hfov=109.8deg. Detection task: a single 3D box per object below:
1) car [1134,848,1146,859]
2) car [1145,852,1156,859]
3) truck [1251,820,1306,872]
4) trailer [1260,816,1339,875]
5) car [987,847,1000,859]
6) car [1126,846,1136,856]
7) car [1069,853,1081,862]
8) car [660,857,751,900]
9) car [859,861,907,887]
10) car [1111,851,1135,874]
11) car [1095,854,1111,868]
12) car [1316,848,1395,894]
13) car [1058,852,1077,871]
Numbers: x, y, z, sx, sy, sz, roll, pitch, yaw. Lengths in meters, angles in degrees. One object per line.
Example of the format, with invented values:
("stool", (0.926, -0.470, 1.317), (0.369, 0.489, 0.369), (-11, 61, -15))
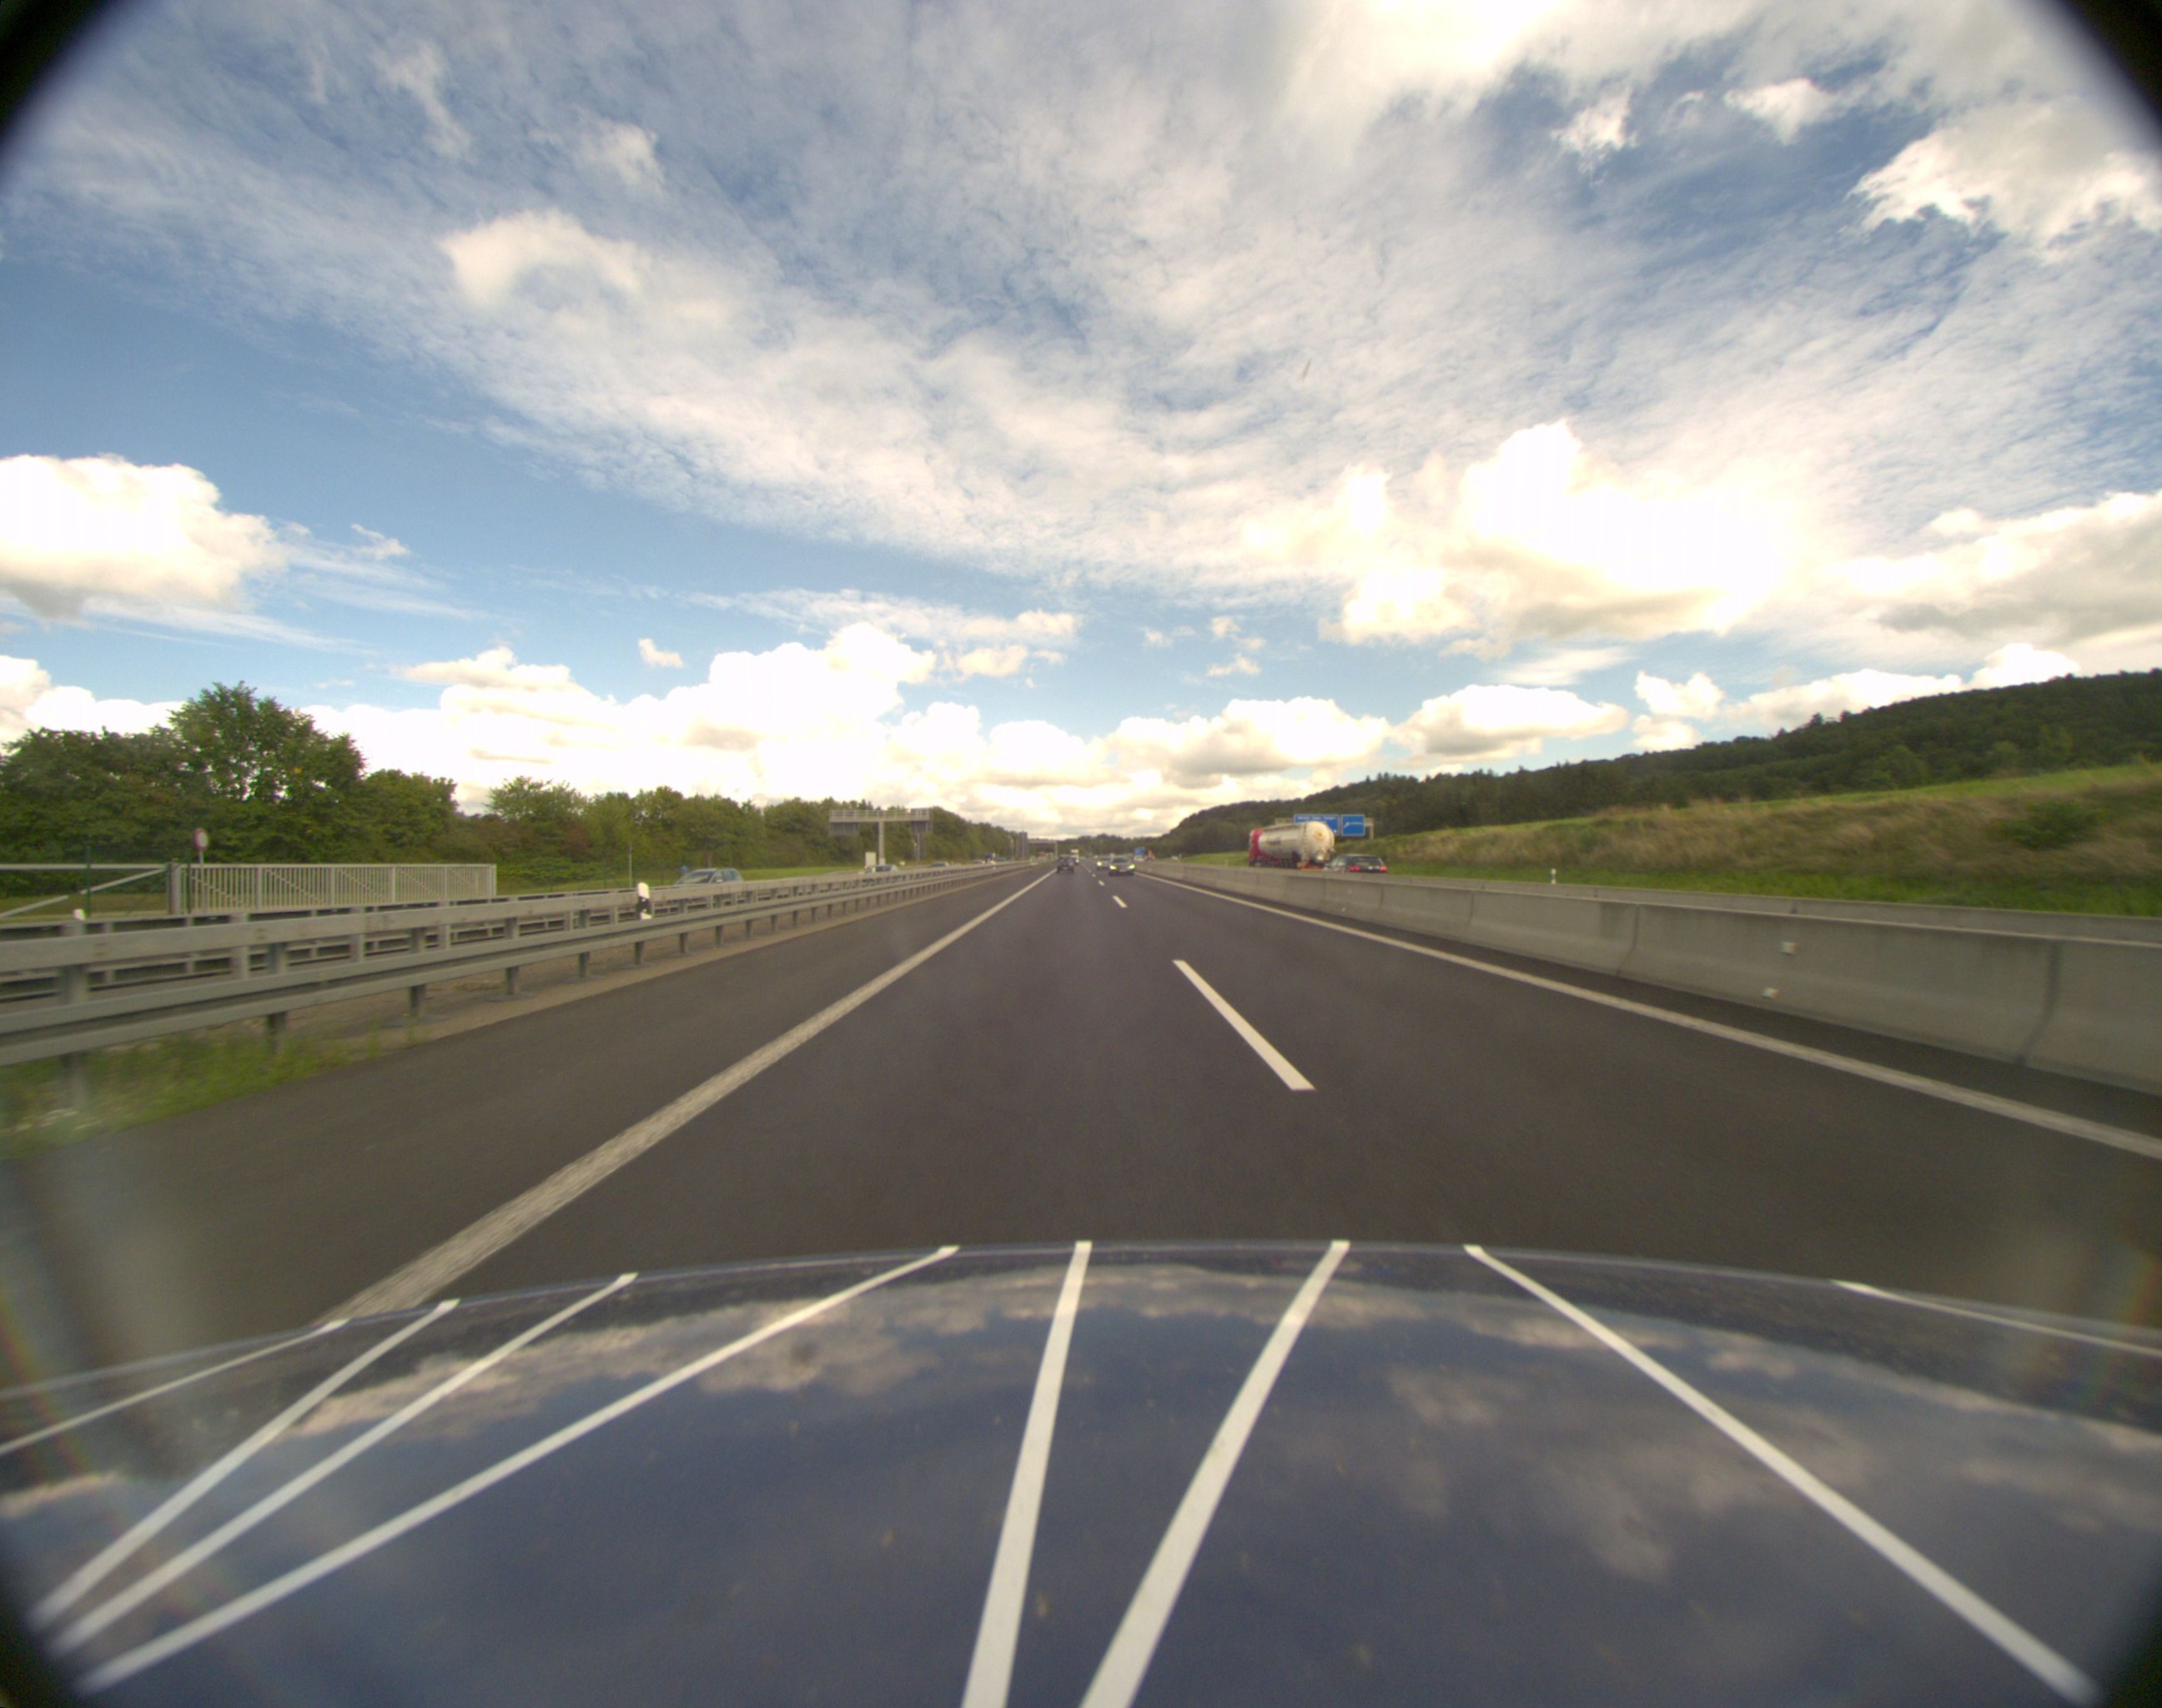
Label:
("car", (11.309, -0.151, 145.871), (1.998, 2.002, 4.677), (-1, 0, 1))
("car", (15.384, 0.245, 167.857), (1.998, 1.470, 4.691), (0, 0, 1))
("truck", (15.732, -0.645, 61.045), (2.744, 3.901, 6.901), (0, 1, 1))
("trailer", (15.644, -0.606, 55.535), (2.720, 3.864, 11.160), (0, 0, 1))
("car", (-16.862, -0.241, 147.118), (1.999, 2.173, 5.127), (-1, 0, -1))
("car", (11.260, -0.685, 171.135), (1.998, 2.002, 5.841), (0, 0, 1))
("car", (-1.068, 0.586, 136.113), (1.998, 1.591, 4.000), (0, 0, 1))
("car", (-16.322, 1.020, 33.243), (1.998, 1.698, 3.999), (0, 0, 0))
("car", (-12.383, 1.246, 47.693), (1.999, 1.476, 3.999), (-1, 0, -1))
("car", (3.222, 0.614, 58.883), (1.724, 1.722, 3.939), (-1, 0, 1))
("car", (2.422, 0.746, 84.287), (1.724, 1.406, 3.939), (-1, 0, 1))
("car", (11.476, 0.653, 32.066), (1.812, 1.821, 4.396), (0, 0, 1))
("car", (-1.286, 0.718, 73.409), (1.670, 1.722, 4.207), (-1, 0, 1))
